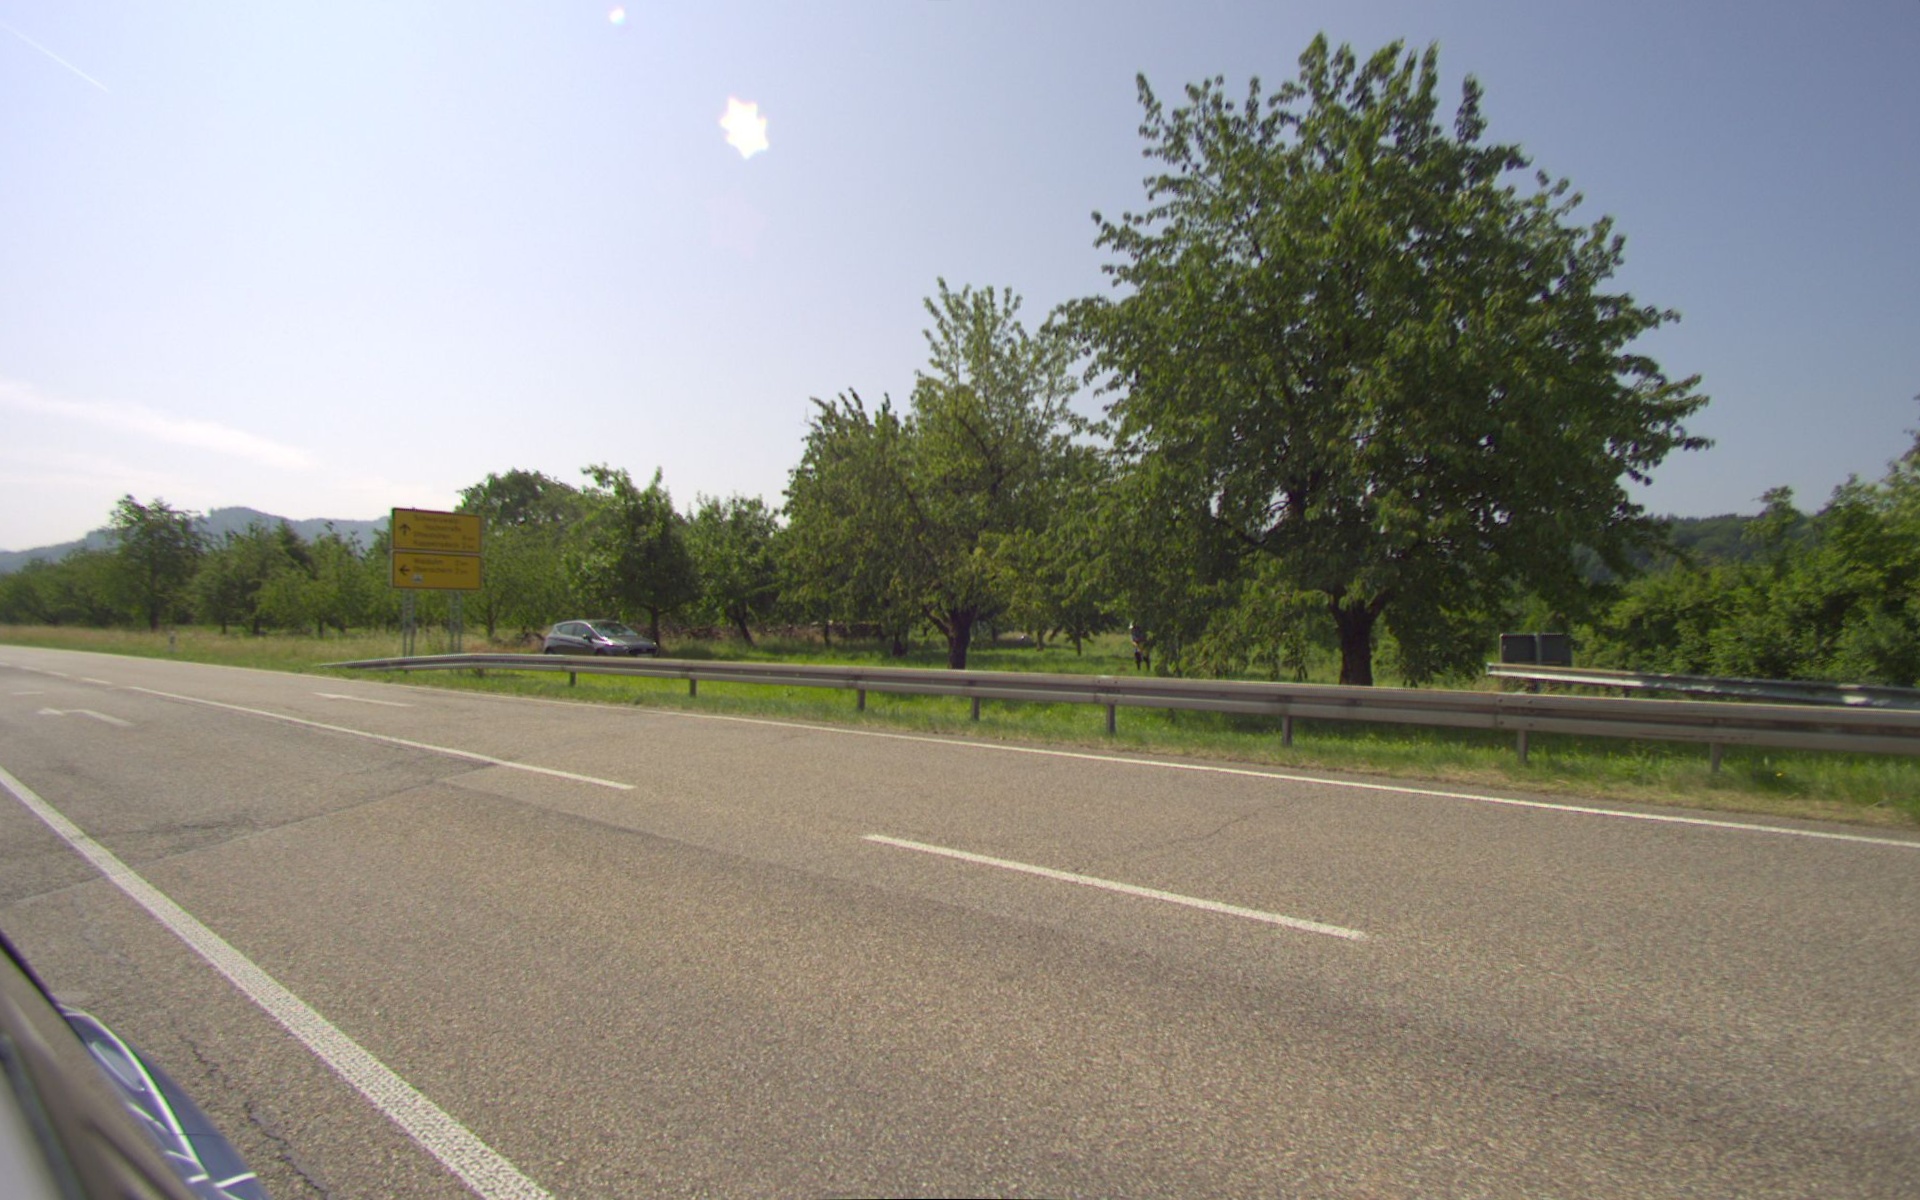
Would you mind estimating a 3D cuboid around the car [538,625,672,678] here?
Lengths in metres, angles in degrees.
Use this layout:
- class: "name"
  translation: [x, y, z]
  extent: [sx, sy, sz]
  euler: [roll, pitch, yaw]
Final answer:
- class: "car"
  translation: [-10.290, 1.444, 29.230]
  extent: [4.035, 1.434, 1.689]
  euler: [-1, -2, 36]

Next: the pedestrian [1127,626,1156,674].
- class: "pedestrian"
  translation: [5.050, 1.384, 28.129]
  extent: [0.556, 1.307, 0.567]
  euler: [-1, -1, 42]
